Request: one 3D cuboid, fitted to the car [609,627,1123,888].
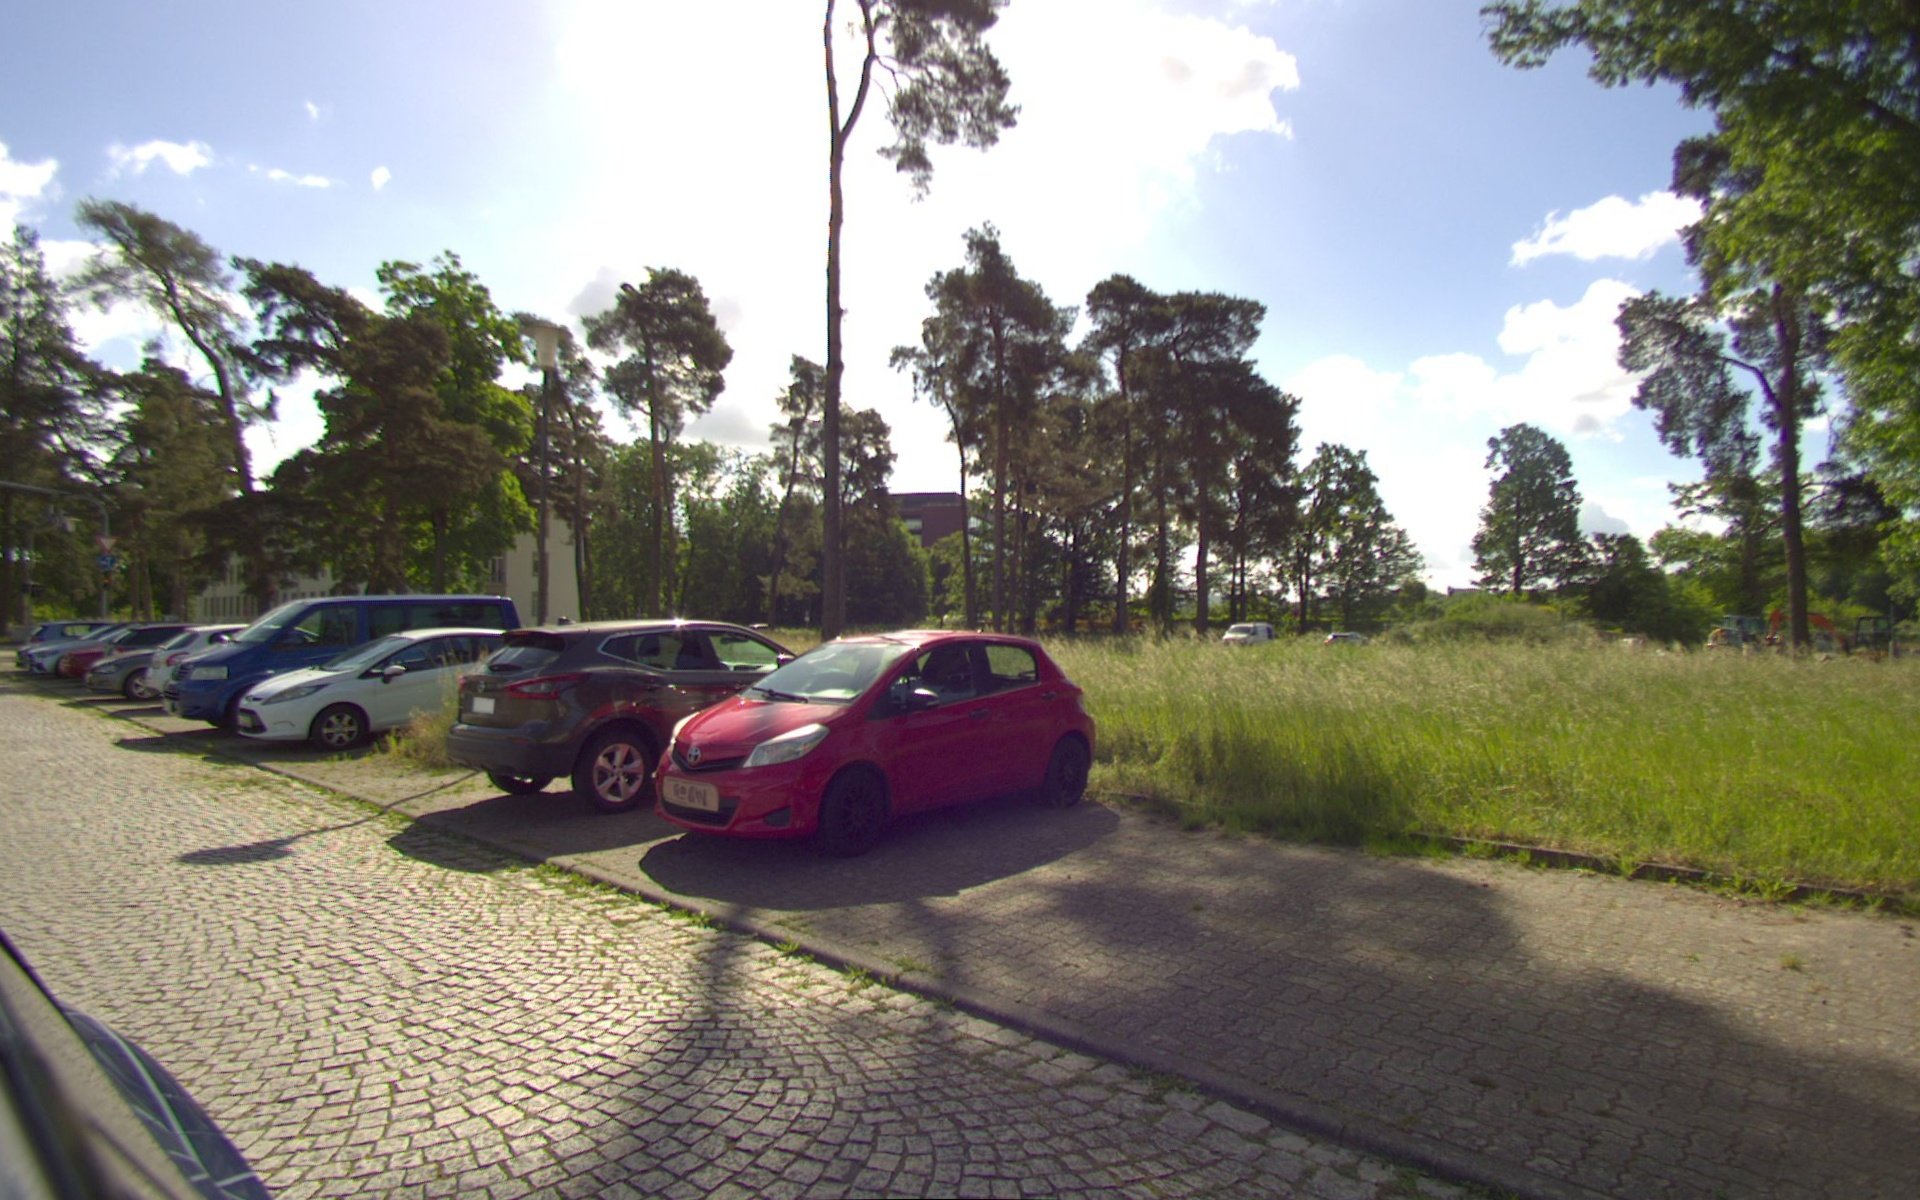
[{"bbox_3d":[-0.531,0.987,8.045,1.865,1.460,3.883,-2,-1,40],"label":"car"}]

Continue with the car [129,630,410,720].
[{"bbox_3d":[-13.109,1.338,19.413,1.823,1.486,4.152,-2,-2,41],"label":"car"}]

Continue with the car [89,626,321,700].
[{"bbox_3d":[-17.323,1.379,23.352,1.822,1.463,4.032,0,-1,43],"label":"car"}]

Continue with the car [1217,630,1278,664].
[{"bbox_3d":[19.152,3.151,67.366,1.957,2.180,4.793,-1,-3,43],"label":"car"}]

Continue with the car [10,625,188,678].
[{"bbox_3d":[-26.860,1.570,31.678,1.947,1.494,3.986,-2,-2,40],"label":"car"}]

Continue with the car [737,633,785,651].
[{"bbox_3d":[-18.399,3.879,93.610,1.841,1.642,4.001,-1,-4,43],"label":"car"}]

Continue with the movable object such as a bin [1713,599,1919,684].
[{"bbox_3d":[40.061,1.905,47.338,6.735,3.760,3.907,0,-2,18],"label":"movable object such as a bin"}]

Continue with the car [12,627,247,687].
[{"bbox_3d":[-22.909,1.518,28.086,1.938,1.431,4.813,0,-1,42],"label":"car"}]

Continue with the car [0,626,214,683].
[{"bbox_3d":[-25.019,1.539,29.804,1.982,1.463,4.537,0,-1,38],"label":"car"}]

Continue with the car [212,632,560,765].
[{"bbox_3d":[-7.613,1.203,13.710,1.681,1.451,3.778,-1,-1,39],"label":"car"}]

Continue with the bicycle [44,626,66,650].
[{"bbox_3d":[-51.907,2.162,58.036,2.113,1.293,0.613,-2,0,40],"label":"bicycle"}]

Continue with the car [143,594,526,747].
[{"bbox_3d":[-9.422,0.936,15.576,2.005,1.983,4.668,-1,-1,41],"label":"car"}]

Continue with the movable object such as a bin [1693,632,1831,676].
[{"bbox_3d":[41.649,2.781,52.804,2.491,2.142,5.682,1,-2,-3],"label":"movable object such as a bin"}]

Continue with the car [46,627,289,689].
[{"bbox_3d":[-20.885,1.473,26.840,1.938,1.431,4.813,-1,-1,42],"label":"car"}]

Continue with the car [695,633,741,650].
[{"bbox_3d":[-23.684,4.064,99.094,1.720,1.593,4.050,-1,-3,43],"label":"car"}]

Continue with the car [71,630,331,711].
[{"bbox_3d":[-15.602,1.377,20.943,1.923,1.436,4.032,-2,-2,43],"label":"car"}]

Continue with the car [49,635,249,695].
[{"bbox_3d":[-19.704,1.536,24.683,1.760,1.243,3.591,0,-1,43],"label":"car"}]

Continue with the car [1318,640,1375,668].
[{"bbox_3d":[24.146,3.356,63.145,1.912,1.617,4.182,-1,-3,43],"label":"car"}]

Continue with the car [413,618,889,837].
[{"bbox_3d":[-2.750,0.999,9.657,1.972,1.580,3.913,-2,-2,40],"label":"car"}]
